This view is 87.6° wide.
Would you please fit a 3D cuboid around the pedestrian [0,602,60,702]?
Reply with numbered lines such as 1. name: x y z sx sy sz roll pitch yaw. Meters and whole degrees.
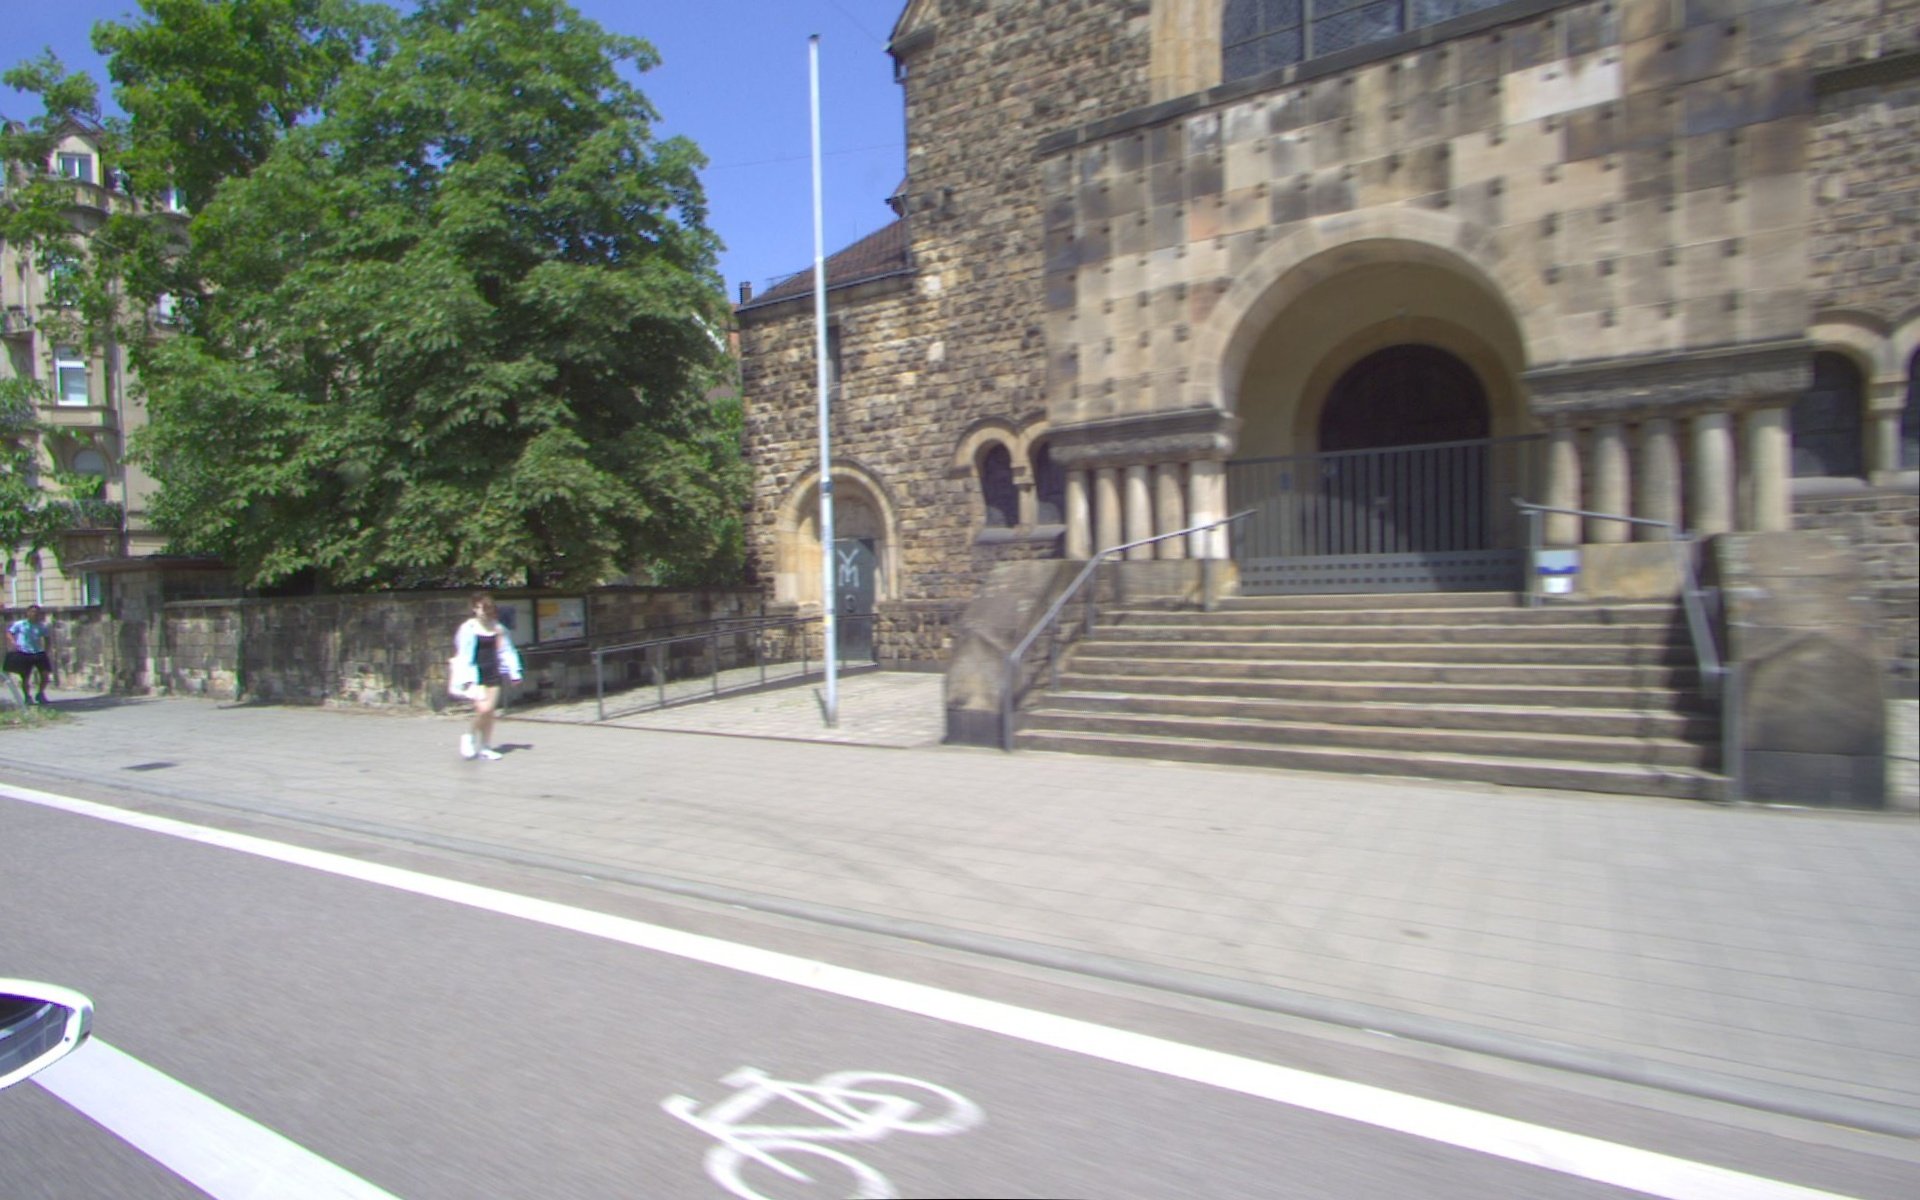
1. pedestrian: -16.880 0.925 18.181 0.669 1.778 0.619 0 1 33

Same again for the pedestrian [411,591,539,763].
1. pedestrian: -5.010 0.756 10.353 0.953 1.672 0.792 0 1 33
